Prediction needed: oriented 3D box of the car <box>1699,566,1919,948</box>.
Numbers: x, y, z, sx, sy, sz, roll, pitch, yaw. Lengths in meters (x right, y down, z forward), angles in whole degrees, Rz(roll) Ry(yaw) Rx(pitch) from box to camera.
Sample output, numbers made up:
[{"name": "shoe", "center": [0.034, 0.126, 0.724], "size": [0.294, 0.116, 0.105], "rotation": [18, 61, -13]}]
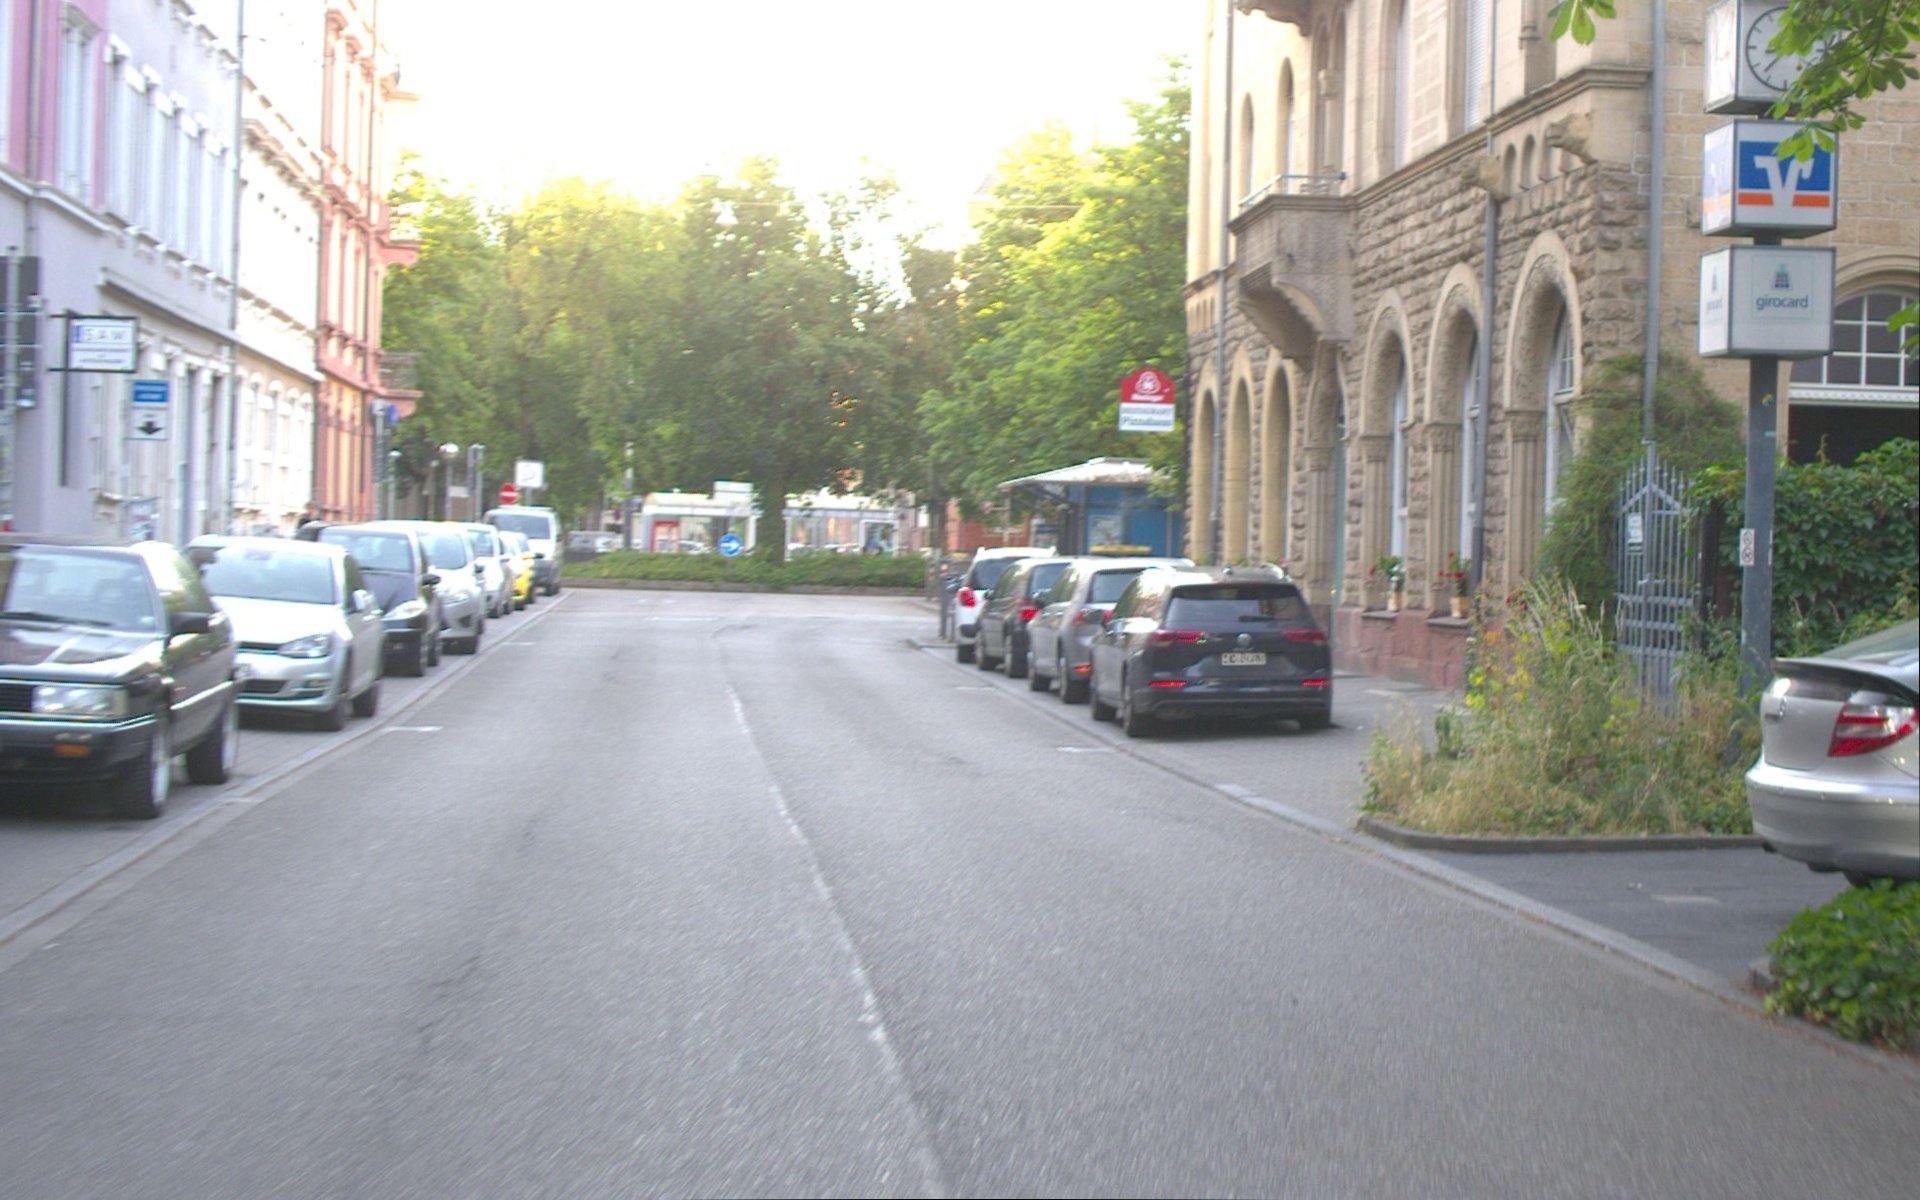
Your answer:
[{"name": "car", "center": [5.382, 0.579, 14.466], "size": [4.086, 1.447, 1.883], "rotation": [-1, 1, -2]}]

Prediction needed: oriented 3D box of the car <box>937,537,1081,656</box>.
[{"name": "car", "center": [0.628, -0.085, 46.941], "size": [1.676, 1.496, 3.901], "rotation": [-1, 1, -3]}]

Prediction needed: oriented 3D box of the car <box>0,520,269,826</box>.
[{"name": "car", "center": [-4.935, 0.294, 18.631], "size": [1.736, 1.413, 4.779], "rotation": [3, 0, -5]}]

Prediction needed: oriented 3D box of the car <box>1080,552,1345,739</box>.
[{"name": "car", "center": [2.147, 0.344, 30.369], "size": [1.676, 1.424, 4.479], "rotation": [-2, 1, -4]}]

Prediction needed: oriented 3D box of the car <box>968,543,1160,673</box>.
[{"name": "car", "center": [1.219, 0.065, 41.941], "size": [1.676, 1.451, 3.801], "rotation": [-2, 1, -8]}]

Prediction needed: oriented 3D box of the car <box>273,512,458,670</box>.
[{"name": "car", "center": [-6.436, -0.134, 37.510], "size": [1.636, 1.560, 3.782], "rotation": [3, 1, -5]}]

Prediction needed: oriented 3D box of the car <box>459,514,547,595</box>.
[{"name": "car", "center": [-9.515, -0.960, 71.749], "size": [1.698, 1.547, 4.023], "rotation": [3, 1, -7]}]

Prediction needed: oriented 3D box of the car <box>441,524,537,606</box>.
[{"name": "car", "center": [-8.994, -0.694, 65.843], "size": [1.698, 1.421, 4.023], "rotation": [3, 1, -7]}]

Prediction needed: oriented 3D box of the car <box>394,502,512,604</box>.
[{"name": "car", "center": [-8.746, -0.820, 59.582], "size": [1.698, 1.615, 4.023], "rotation": [3, 1, -5]}]

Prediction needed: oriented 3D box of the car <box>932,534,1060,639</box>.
[{"name": "car", "center": [0.520, -0.239, 52.813], "size": [1.676, 1.496, 4.018], "rotation": [-1, 1, -3]}]

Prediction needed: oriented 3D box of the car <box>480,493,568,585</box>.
[{"name": "car", "center": [-10.152, -1.424, 79.867], "size": [1.810, 1.970, 4.188], "rotation": [3, 1, -9]}]

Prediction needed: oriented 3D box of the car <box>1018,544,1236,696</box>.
[{"name": "car", "center": [1.696, 0.162, 36.251], "size": [1.676, 1.451, 4.231], "rotation": [-2, 1, -5]}]

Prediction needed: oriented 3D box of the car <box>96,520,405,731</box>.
[{"name": "car", "center": [-5.663, 0.152, 27.907], "size": [1.834, 1.453, 4.207], "rotation": [4, 1, -4]}]

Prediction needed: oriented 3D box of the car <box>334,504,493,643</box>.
[{"name": "car", "center": [-6.916, -0.359, 43.789], "size": [1.844, 1.653, 4.254], "rotation": [1, 1, -7]}]
